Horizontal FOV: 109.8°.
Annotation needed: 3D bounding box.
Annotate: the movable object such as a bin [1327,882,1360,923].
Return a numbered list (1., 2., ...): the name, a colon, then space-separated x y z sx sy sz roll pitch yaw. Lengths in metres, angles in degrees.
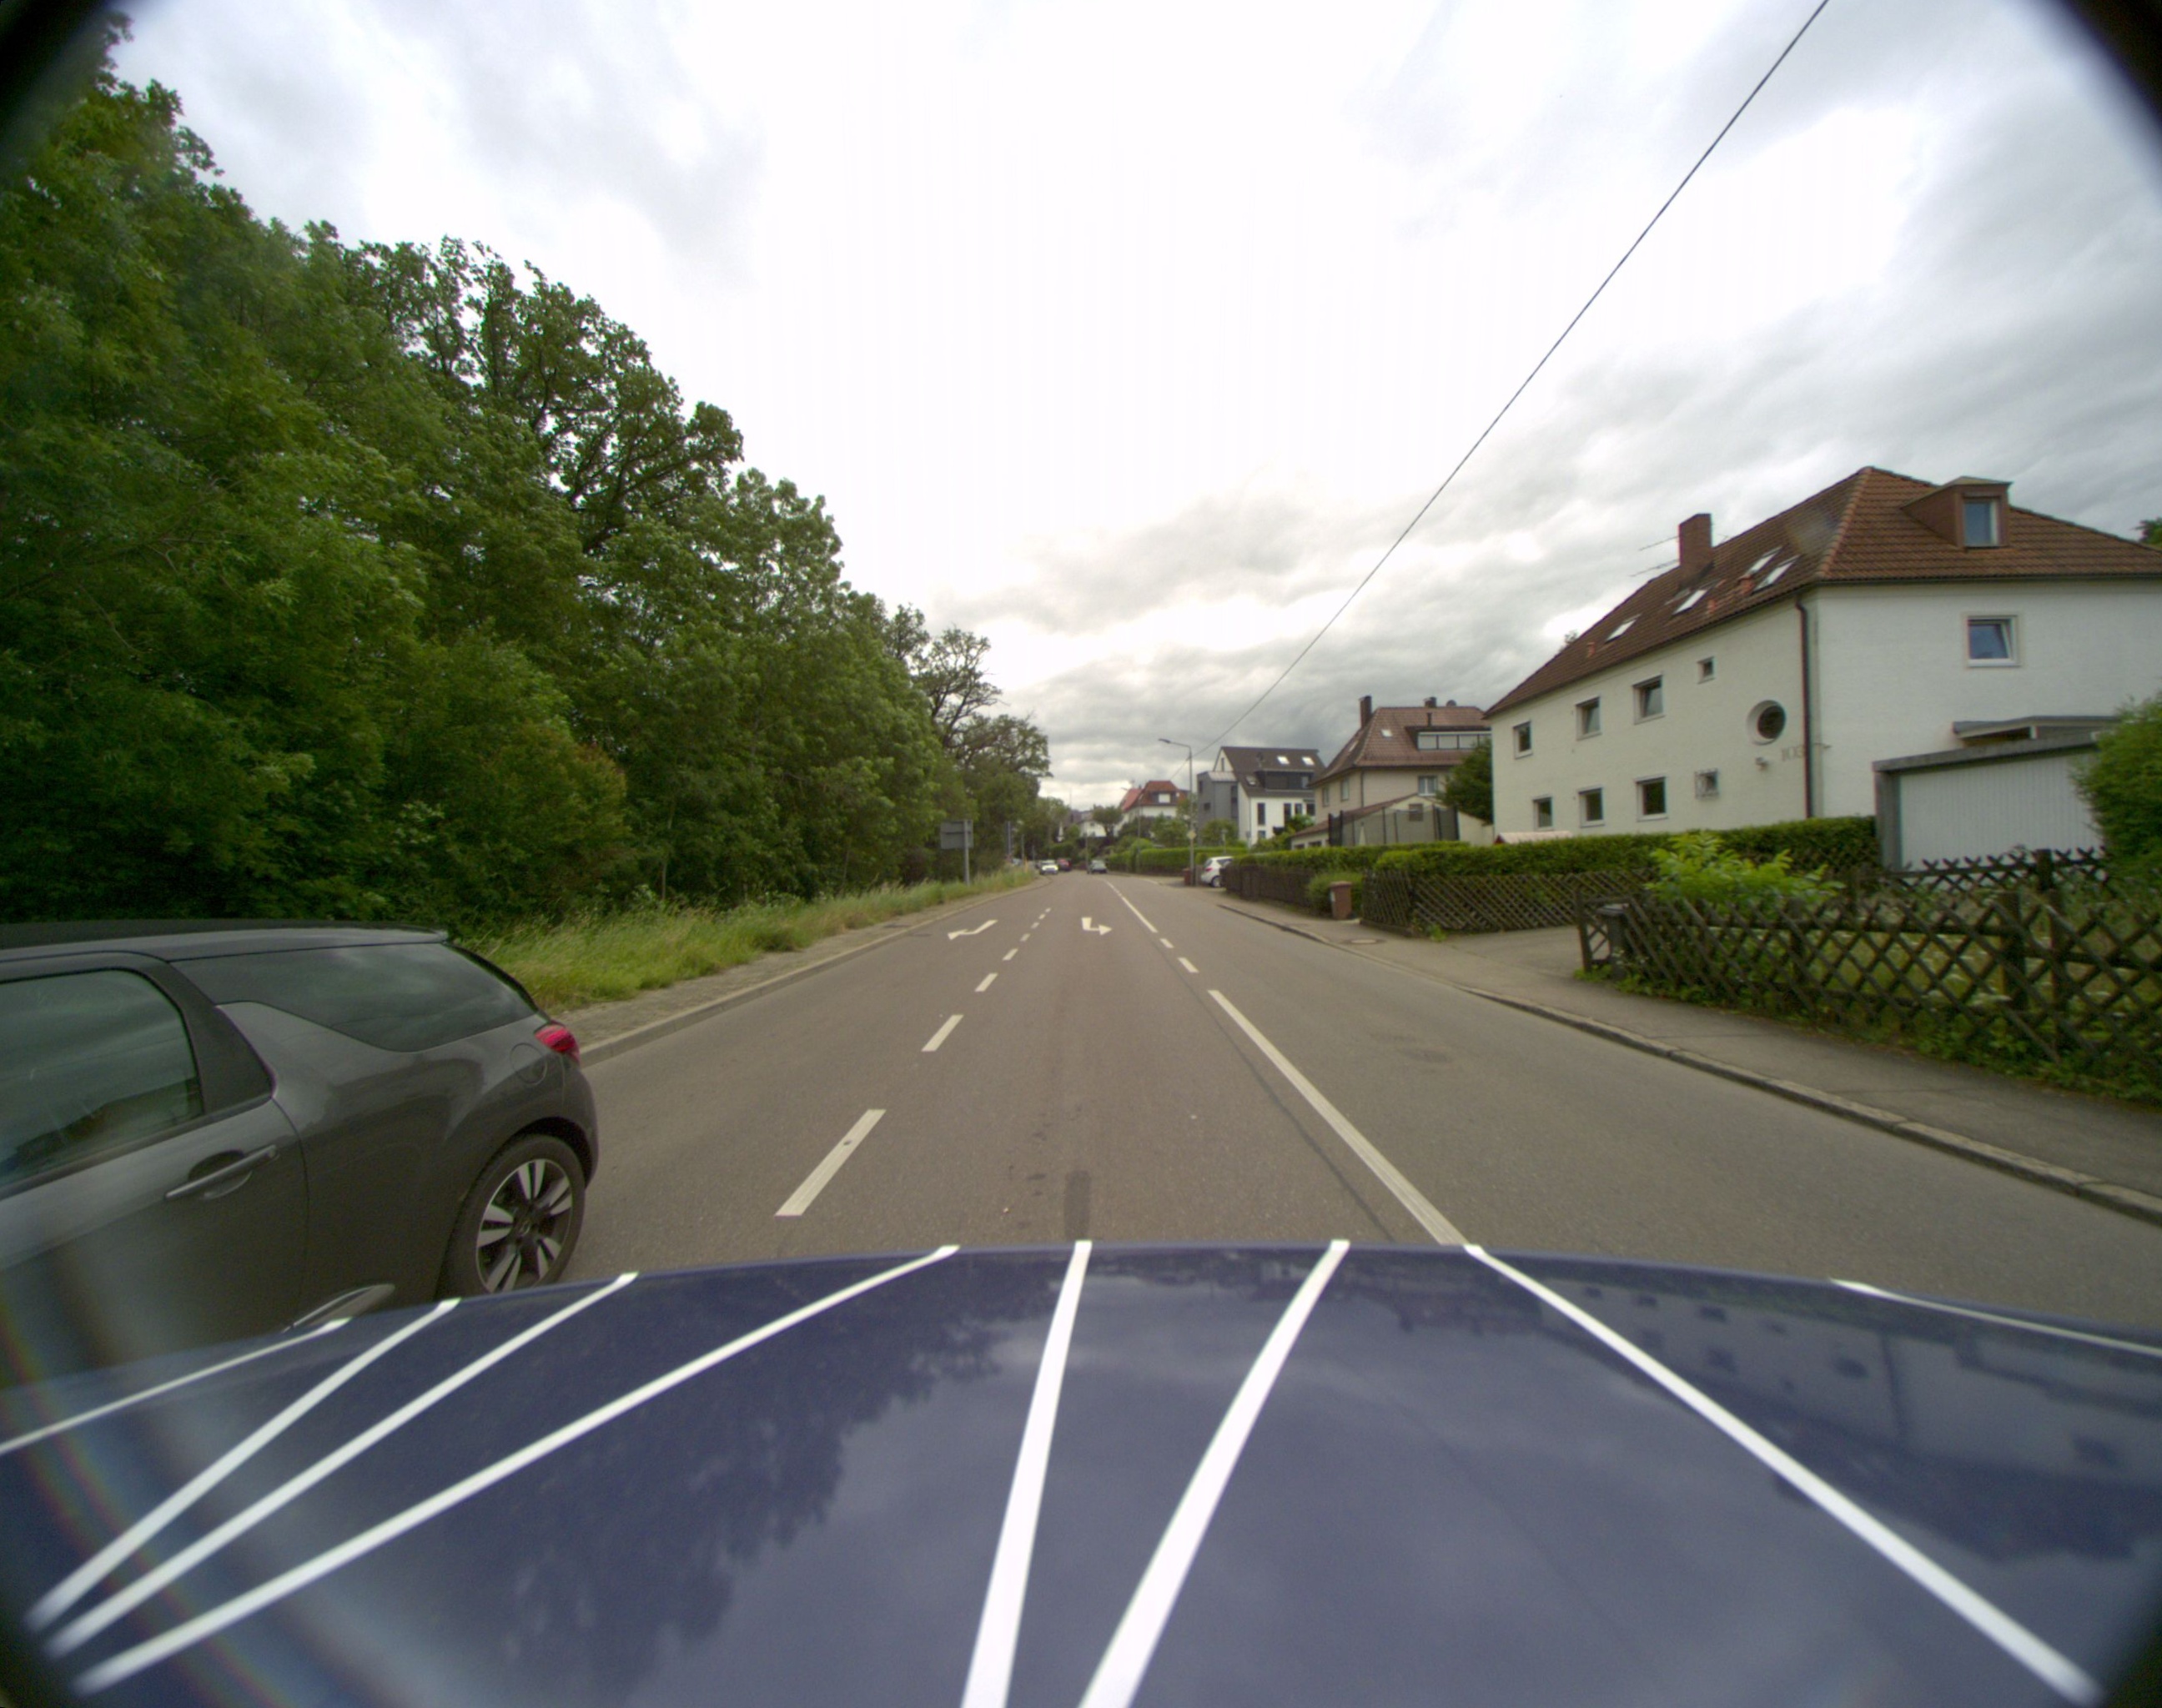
1. movable object such as a bin: 6.236 1.151 18.050 0.634 0.907 0.561 -3 0 10

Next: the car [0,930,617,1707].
1. car: -2.840 1.067 1.178 1.730 1.449 3.855 -2 0 2

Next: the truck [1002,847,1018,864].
1. truck: -15.838 0.292 168.642 3.008 3.618 7.083 -1 0 -8

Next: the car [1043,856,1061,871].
1. car: -3.410 1.132 90.338 1.999 1.565 3.999 -3 0 -2

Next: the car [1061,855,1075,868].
1. car: -1.771 0.989 100.306 1.818 1.590 3.955 -1 0 -2

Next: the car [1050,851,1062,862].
1. car: -4.015 0.375 123.440 1.832 1.665 3.998 -1 1 -3

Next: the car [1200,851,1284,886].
1. car: 8.442 0.728 40.024 3.997 1.584 1.718 -3 0 1

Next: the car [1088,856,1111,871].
1. car: 2.043 1.046 85.633 1.840 1.514 3.997 -1 0 -9

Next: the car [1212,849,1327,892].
1. car: 8.516 0.726 34.555 4.682 1.660 1.882 -3 0 -1

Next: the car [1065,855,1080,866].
1. car: -1.257 0.953 109.636 1.876 1.569 3.998 -1 0 -6

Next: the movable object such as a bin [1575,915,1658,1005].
1. movable object such as a bin: 6.016 1.177 8.552 0.551 0.932 0.538 -1 0 2

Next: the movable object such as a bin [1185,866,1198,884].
1. movable object such as a bin: 6.251 1.185 43.126 0.689 0.948 0.572 -1 0 5
